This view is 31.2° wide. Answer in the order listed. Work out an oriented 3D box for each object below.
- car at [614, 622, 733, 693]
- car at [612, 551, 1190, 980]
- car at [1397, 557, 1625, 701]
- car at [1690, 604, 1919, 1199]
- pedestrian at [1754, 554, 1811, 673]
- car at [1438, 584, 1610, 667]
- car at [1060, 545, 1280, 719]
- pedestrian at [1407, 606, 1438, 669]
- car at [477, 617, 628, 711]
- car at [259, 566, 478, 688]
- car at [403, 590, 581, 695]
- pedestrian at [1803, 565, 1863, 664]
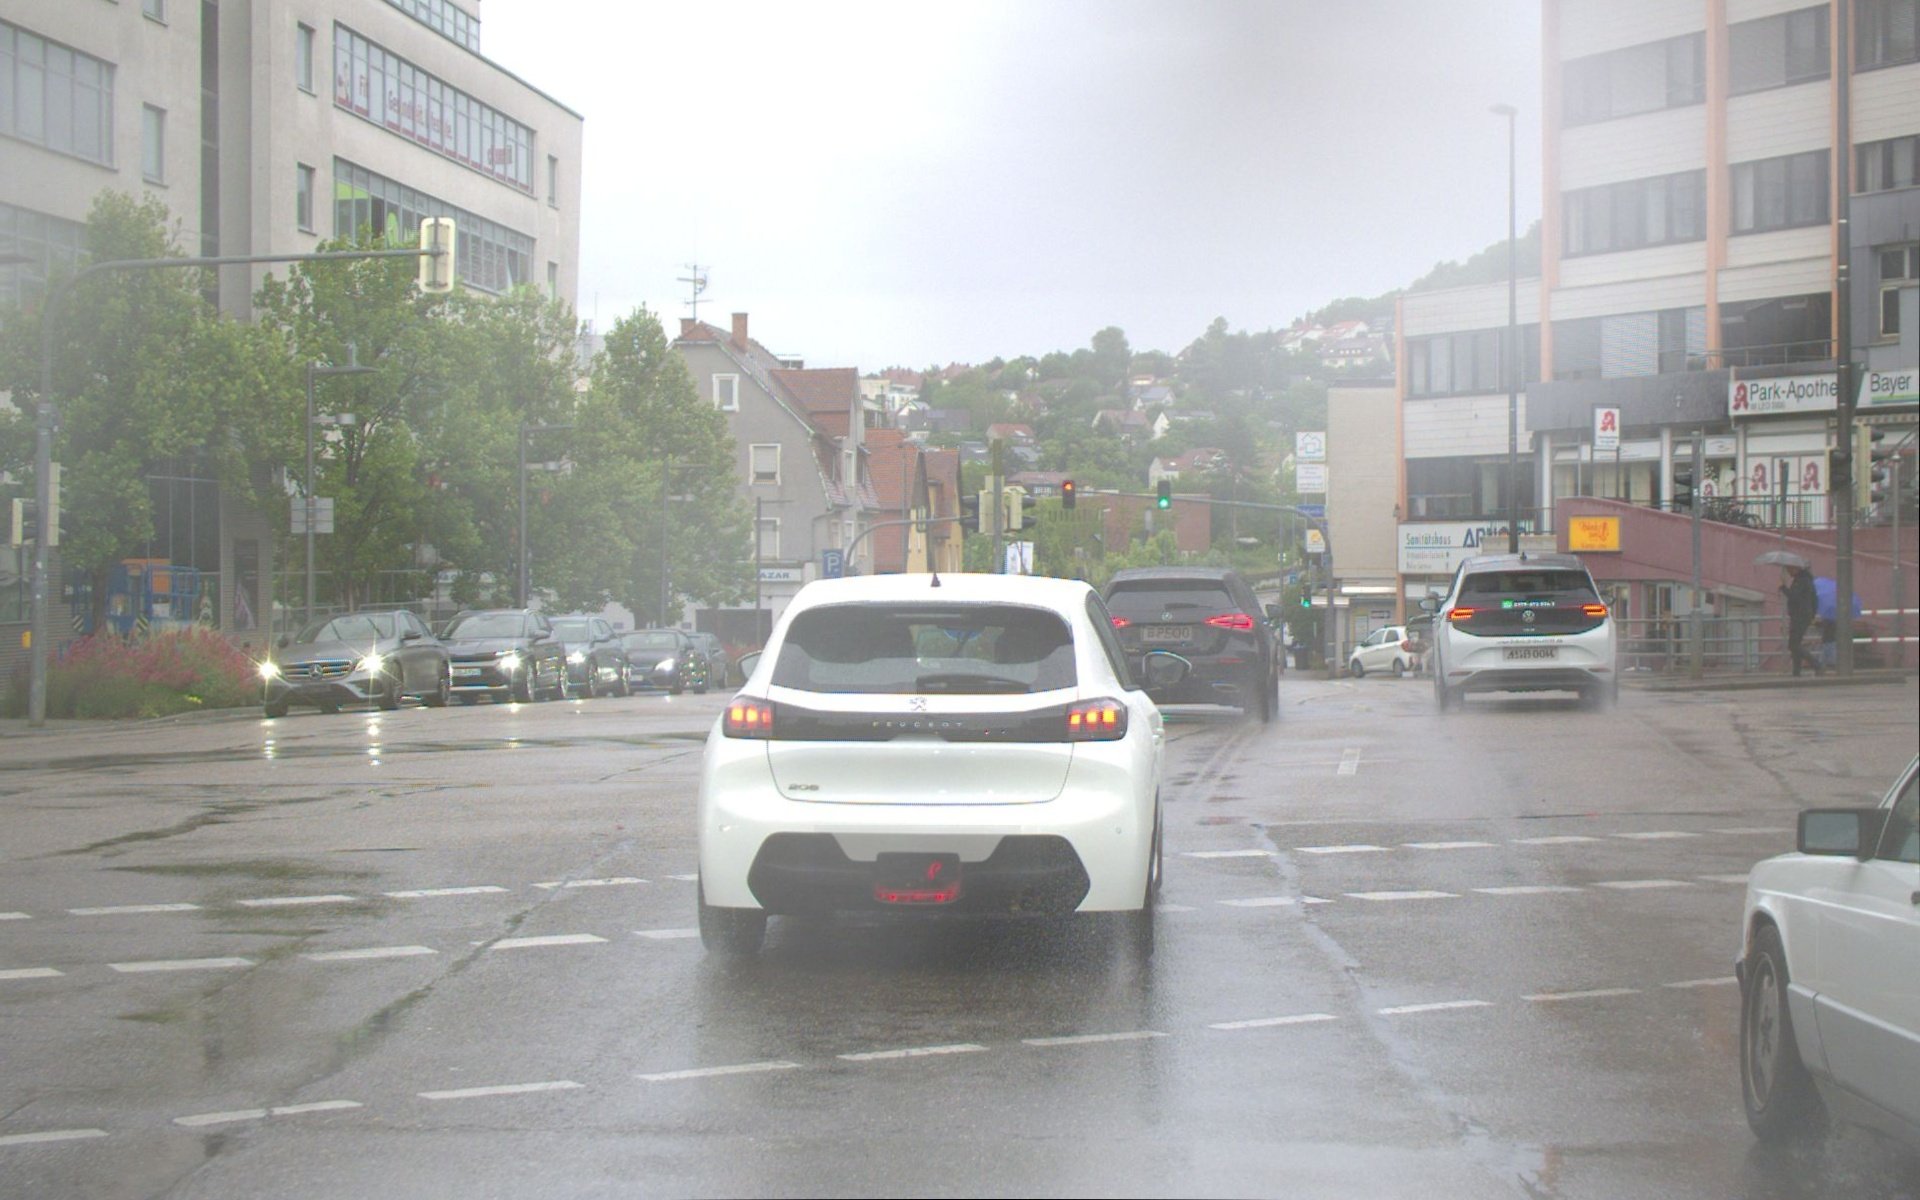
[{"bbox_3d":[-5.932,1.174,71.546,1.726,1.383,4.599,-1,-1,4],"label":"car"},{"bbox_3d":[-0.087,0.555,13.915,1.872,1.457,3.872,1,1,6],"label":"car"},{"bbox_3d":[5.589,0.276,35.254,1.912,1.395,3.457,0,0,2],"label":"car"},{"bbox_3d":[2.849,0.752,7.325,1.634,1.443,4.268,1,0,0],"label":"car"},{"bbox_3d":[11.164,0.183,46.676,0.708,1.602,0.655,0,0,10],"label":"pedestrian"},{"bbox_3d":[15.682,0.695,95.853,1.993,2.219,4.976,-1,0,-30],"label":"car"},{"bbox_3d":[2.036,0.297,32.406,1.816,1.524,3.811,-1,0,7],"label":"car"},{"bbox_3d":[13.470,1.094,100.112,0.640,1.816,0.583,-1,0,-27],"label":"pedestrian"},{"bbox_3d":[-7.690,1.182,65.231,1.774,1.588,4.587,-4,-1,6],"label":"car"},{"bbox_3d":[-8.334,0.395,48.866,1.920,1.626,4.902,-1,-1,4],"label":"car"},{"bbox_3d":[-7.902,0.697,58.485,1.876,1.588,4.523,-4,-1,6],"label":"car"},{"bbox_3d":[12.030,0.200,47.386,0.708,1.341,0.655,-1,0,9],"label":"pedestrian"}]
